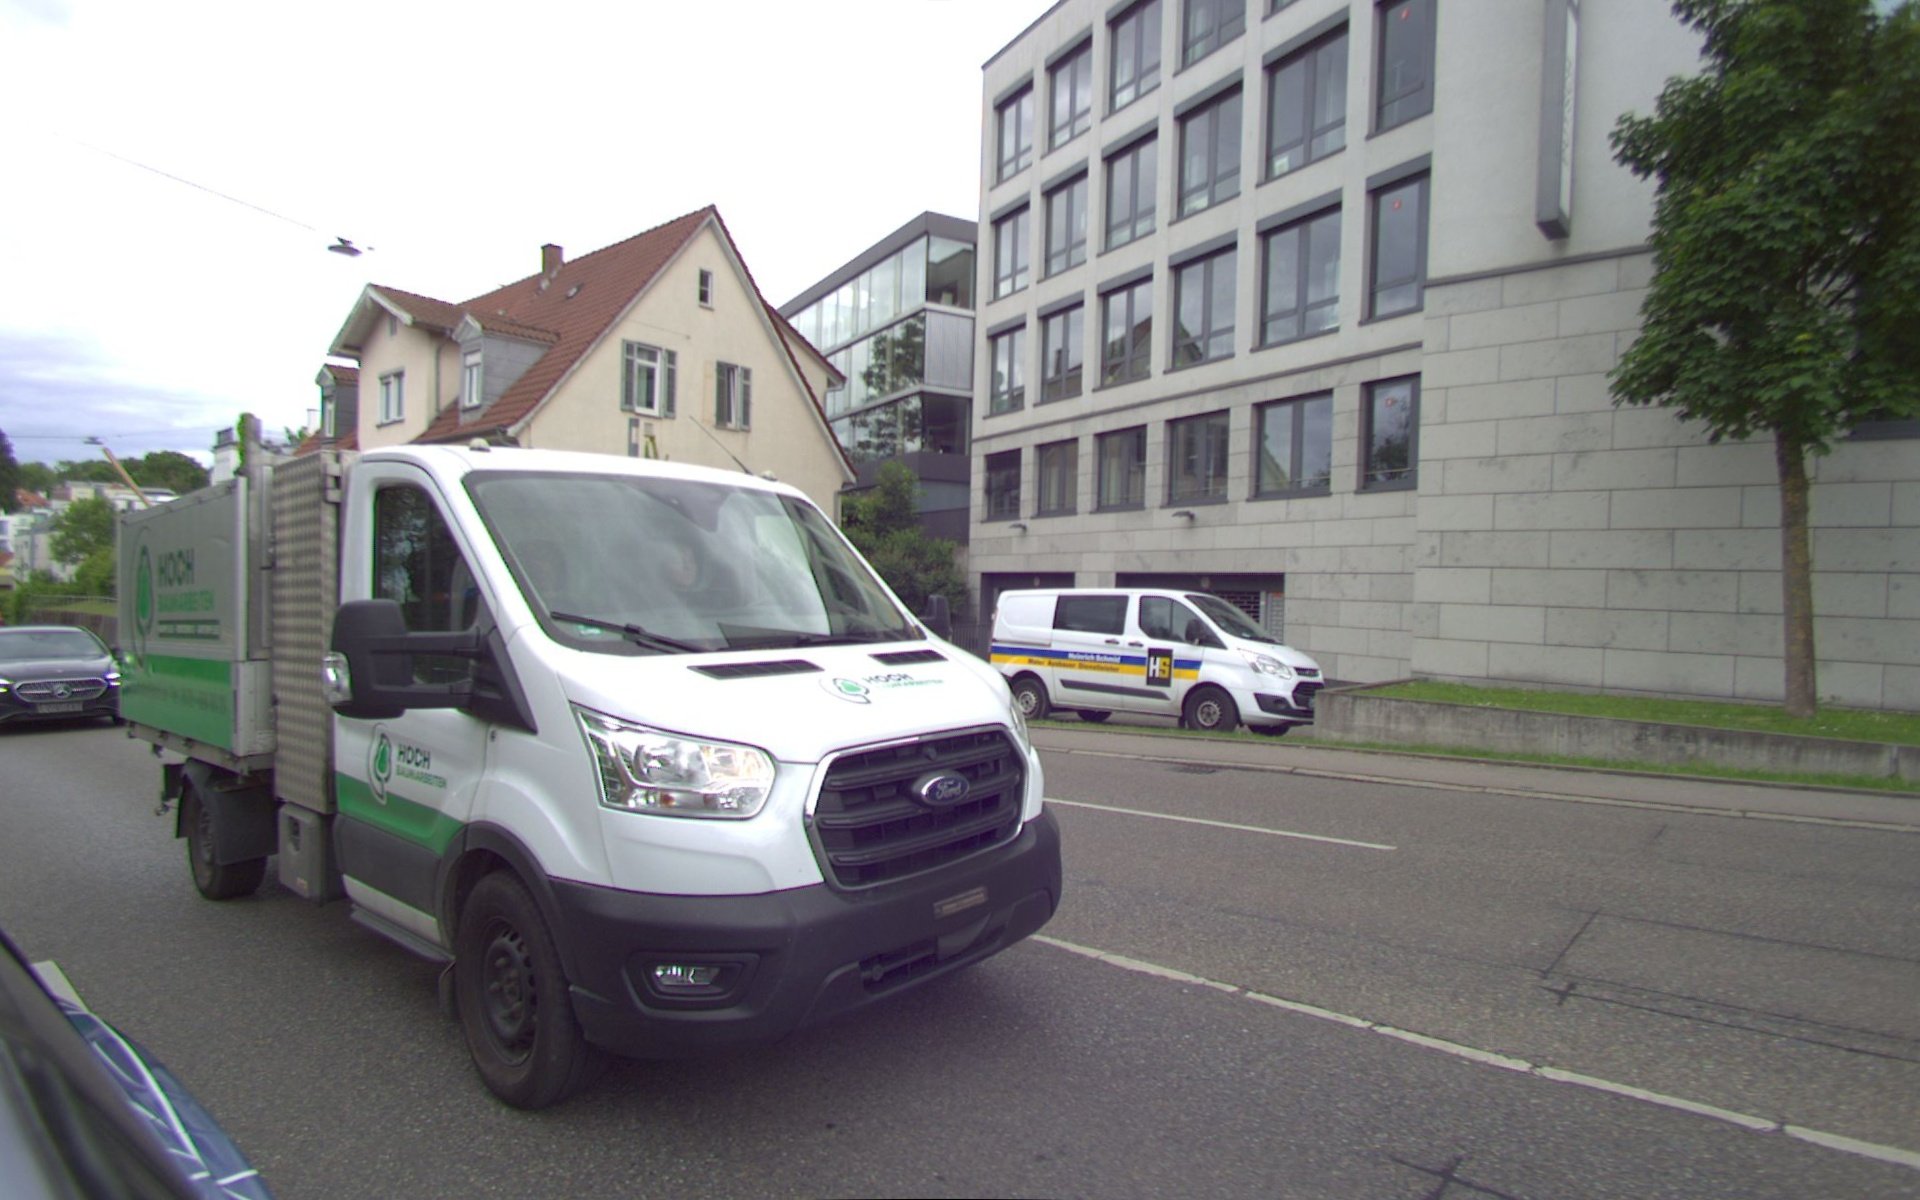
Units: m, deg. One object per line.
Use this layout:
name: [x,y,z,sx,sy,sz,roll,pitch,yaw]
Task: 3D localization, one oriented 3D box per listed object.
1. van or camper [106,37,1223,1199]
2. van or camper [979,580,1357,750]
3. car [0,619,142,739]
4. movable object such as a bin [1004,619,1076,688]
van or camper: [-2.005,0.173,4.881,5.962,2.682,2.319,1,1,41]
van or camper: [2.770,0.860,14.247,4.871,1.983,2.038,-2,-4,42]
car: [-13.839,1.103,15.083,4.333,1.541,1.854,-2,-1,41]
movable object such as a bin: [1.892,1.245,23.990,1.287,1.508,1.074,-2,2,37]
